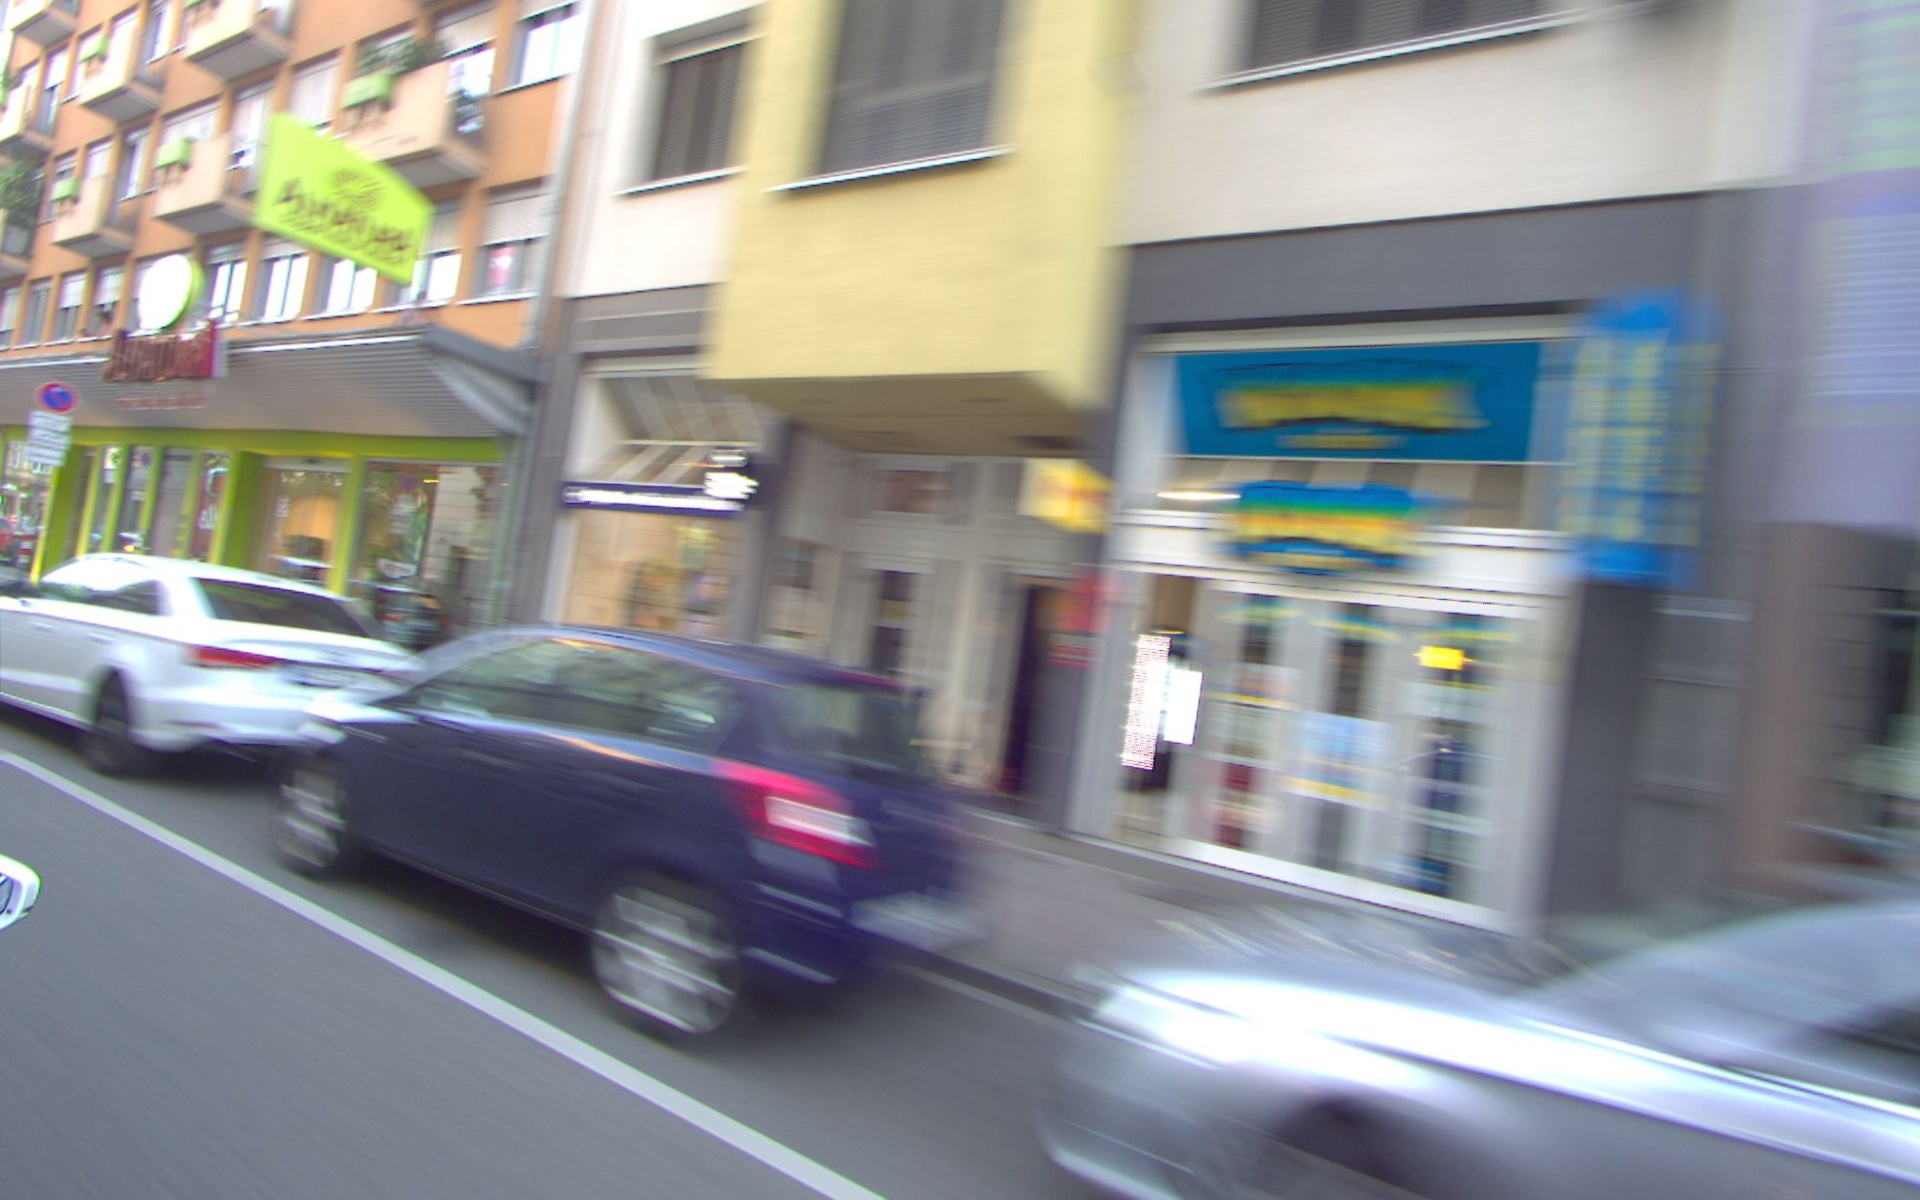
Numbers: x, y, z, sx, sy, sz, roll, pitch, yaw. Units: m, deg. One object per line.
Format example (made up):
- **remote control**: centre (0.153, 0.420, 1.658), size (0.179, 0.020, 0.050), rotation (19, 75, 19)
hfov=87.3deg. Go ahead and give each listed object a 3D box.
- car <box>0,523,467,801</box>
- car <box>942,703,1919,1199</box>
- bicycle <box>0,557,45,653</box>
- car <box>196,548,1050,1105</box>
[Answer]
- **car**: centre (-6.128, 0.363, 7.781), size (4.559, 1.425, 1.699), rotation (7, -5, 29)
- **car**: centre (2.329, 1.372, 2.319), size (4.425, 1.467, 1.692), rotation (7, -5, 33)
- **bicycle**: centre (-11.113, 0.004, 11.005), size (0.649, 1.066, 1.737), rotation (9, -4, -9)
- **car**: centre (-1.838, 0.815, 5.085), size (4.103, 1.531, 1.625), rotation (7, -5, 31)
